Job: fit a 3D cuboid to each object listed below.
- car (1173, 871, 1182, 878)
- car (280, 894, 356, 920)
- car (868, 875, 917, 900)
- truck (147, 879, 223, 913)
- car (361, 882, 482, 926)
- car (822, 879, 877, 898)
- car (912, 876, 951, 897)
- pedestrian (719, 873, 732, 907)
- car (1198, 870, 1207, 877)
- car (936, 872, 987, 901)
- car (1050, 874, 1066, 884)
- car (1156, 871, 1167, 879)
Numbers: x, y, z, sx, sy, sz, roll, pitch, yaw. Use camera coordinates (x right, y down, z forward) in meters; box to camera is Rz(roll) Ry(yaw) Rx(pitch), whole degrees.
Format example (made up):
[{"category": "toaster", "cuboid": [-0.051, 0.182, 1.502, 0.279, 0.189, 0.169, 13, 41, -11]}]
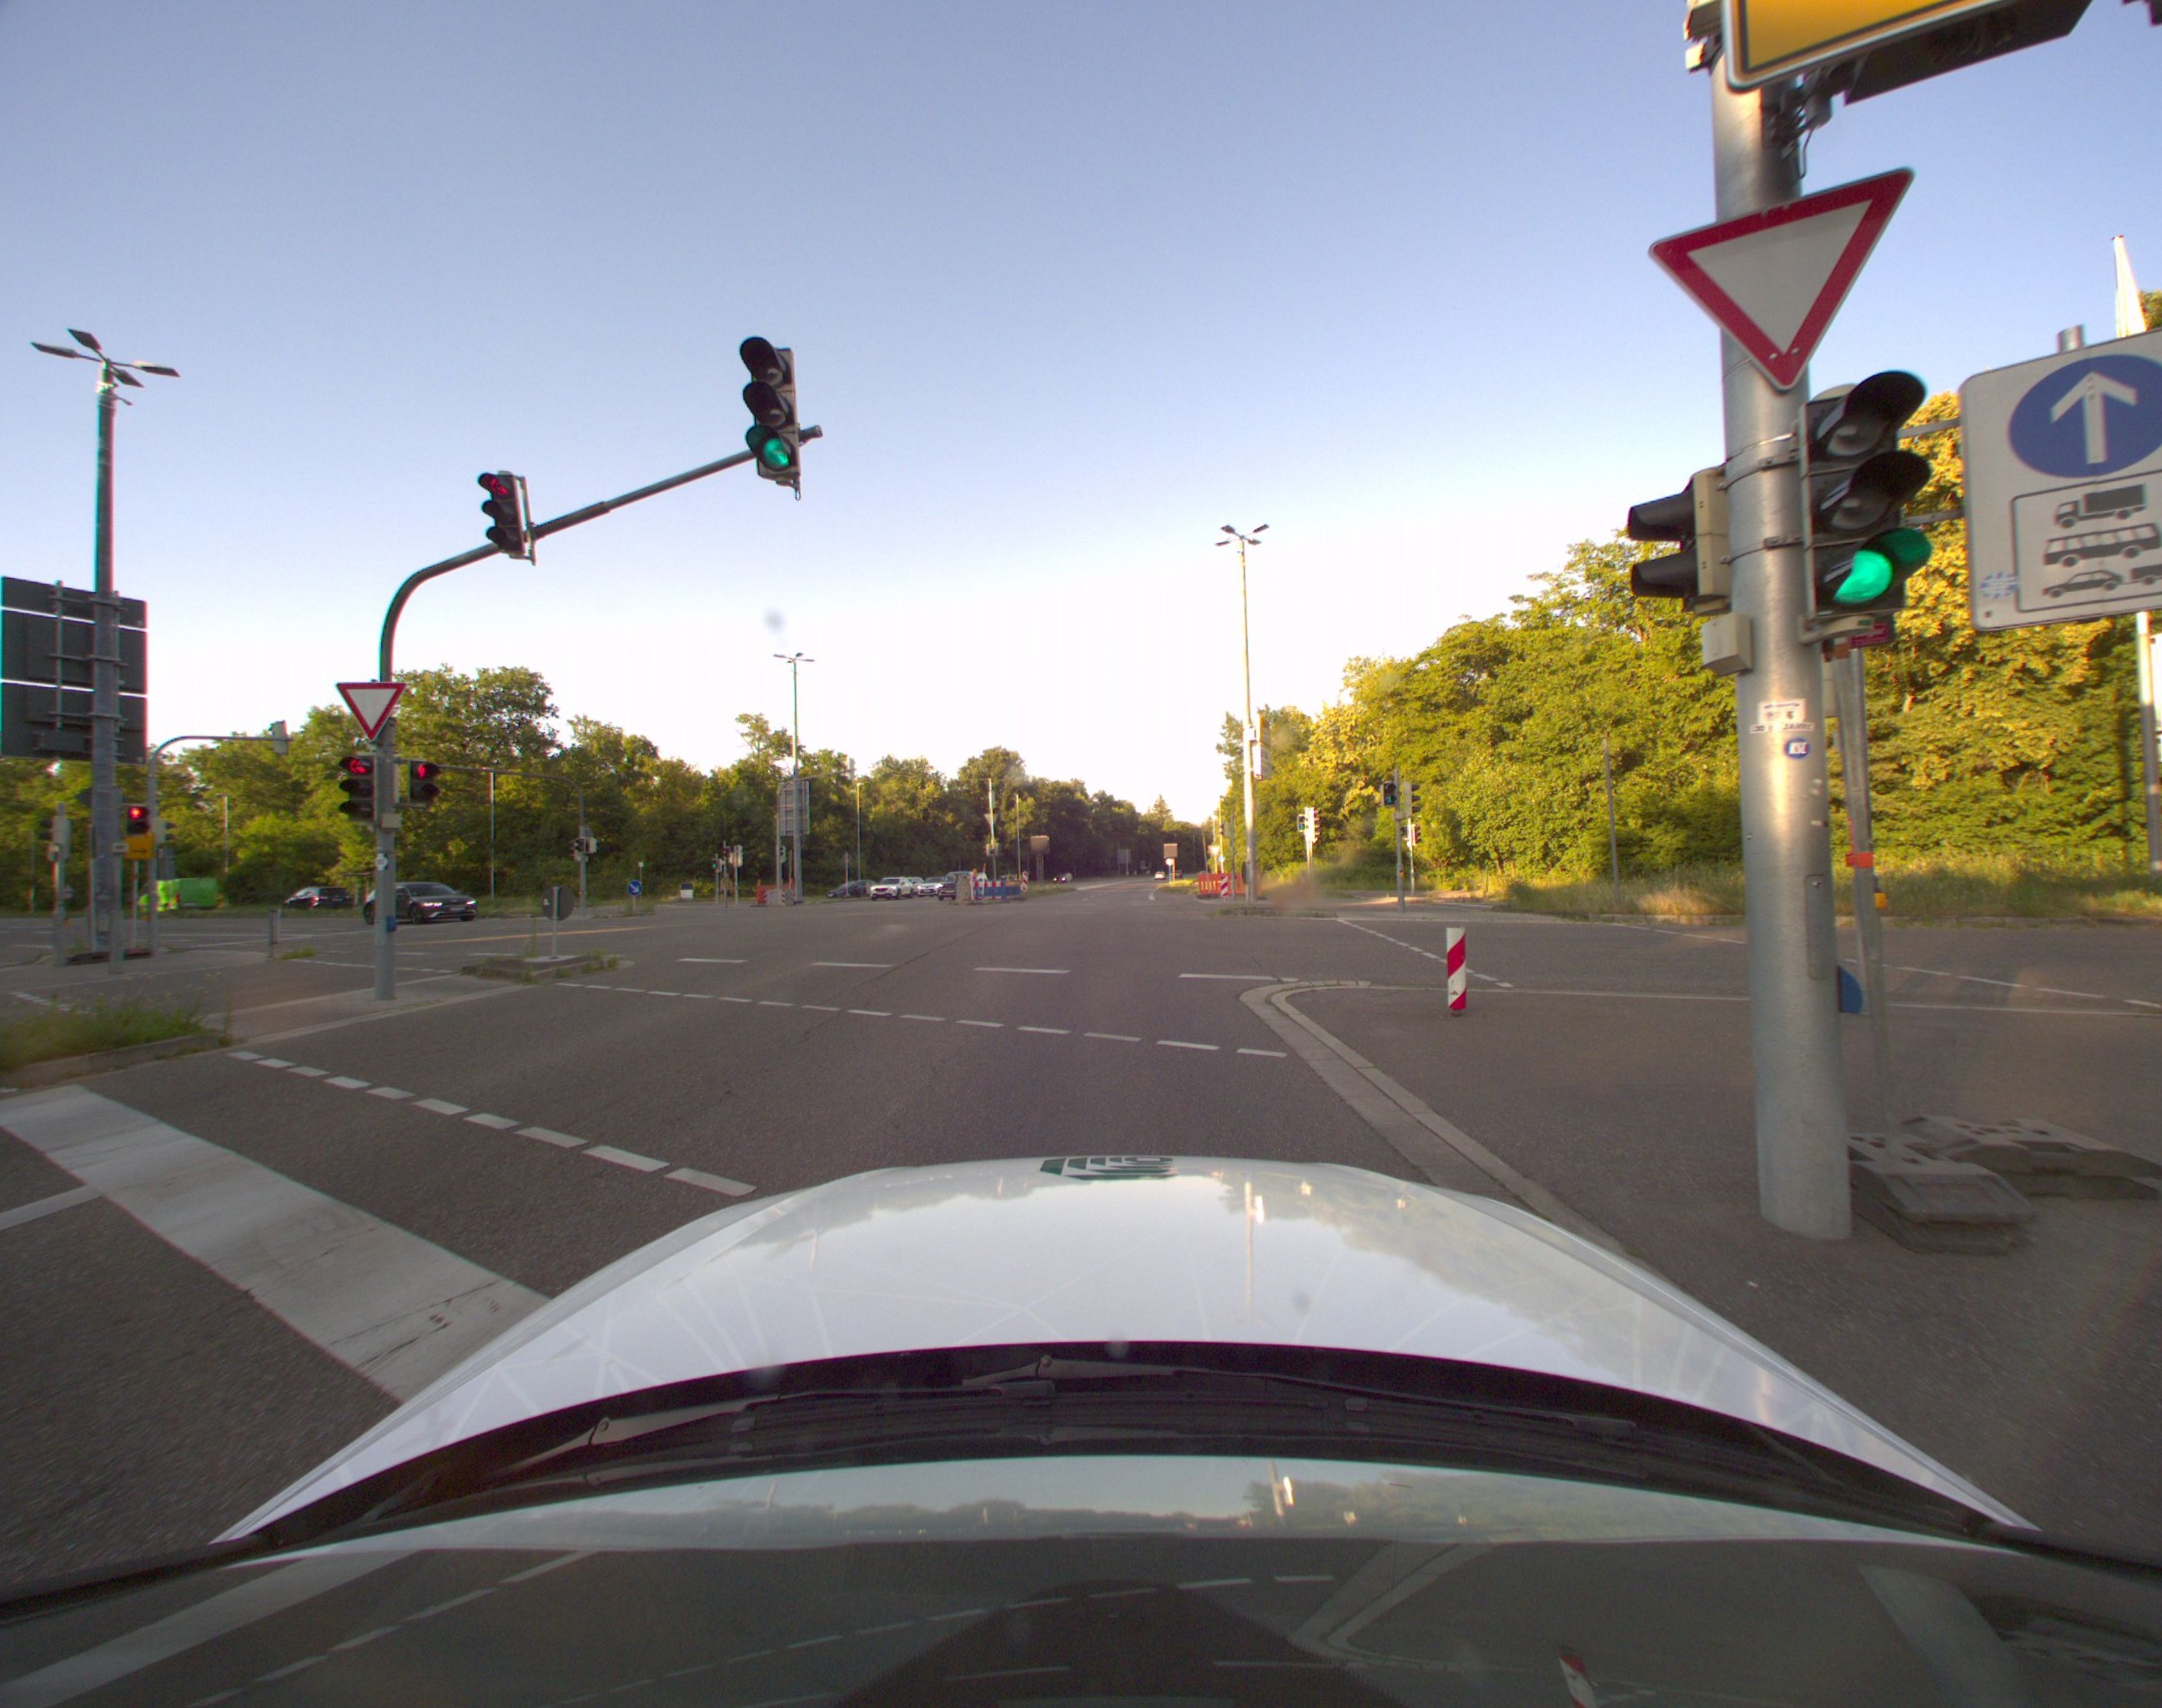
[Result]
[{"category": "car", "cuboid": [20.673, 4.404, 173.951, 1.444, 1.244, 2.976, -2, -1, 17]}, {"category": "car", "cuboid": [-44.025, 3.025, 47.011, 3.998, 1.327, 1.673, -1, -1, 22]}, {"category": "car", "cuboid": [-12.315, 2.192, 53.342, 1.707, 1.456, 4.242, -2, -1, 7]}, {"category": "truck", "cuboid": [-58.045, 2.720, 52.768, 3.953, 2.121, 2.010, -2, -1, 21]}, {"category": "car", "cuboid": [-25.527, 1.926, 31.532, 3.951, 1.520, 2.014, -2, -1, 23]}, {"category": "car", "cuboid": [-16.630, 2.466, 58.655, 1.586, 1.244, 3.670, -2, -1, 29]}, {"category": "car", "cuboid": [-11.245, 2.427, 61.486, 1.707, 1.456, 4.241, -2, -1, 7]}, {"category": "pedestrian", "cuboid": [-19.164, 1.930, 43.892, 0.576, 1.800, 0.743, -1, -1, -26]}, {"category": "car", "cuboid": [29.716, 4.740, 198.458, 1.565, 1.534, 3.694, -2, -1, 18]}, {"category": "car", "cuboid": [-6.713, 1.801, 46.245, 1.707, 1.456, 4.242, -2, -1, 7]}, {"category": "car", "cuboid": [-3.646, 3.974, 130.688, 1.868, 1.422, 4.241, -2, -1, 7]}, {"category": "car", "cuboid": [14.354, 3.685, 145.127, 1.536, 1.347, 3.125, -2, -1, 13]}]
